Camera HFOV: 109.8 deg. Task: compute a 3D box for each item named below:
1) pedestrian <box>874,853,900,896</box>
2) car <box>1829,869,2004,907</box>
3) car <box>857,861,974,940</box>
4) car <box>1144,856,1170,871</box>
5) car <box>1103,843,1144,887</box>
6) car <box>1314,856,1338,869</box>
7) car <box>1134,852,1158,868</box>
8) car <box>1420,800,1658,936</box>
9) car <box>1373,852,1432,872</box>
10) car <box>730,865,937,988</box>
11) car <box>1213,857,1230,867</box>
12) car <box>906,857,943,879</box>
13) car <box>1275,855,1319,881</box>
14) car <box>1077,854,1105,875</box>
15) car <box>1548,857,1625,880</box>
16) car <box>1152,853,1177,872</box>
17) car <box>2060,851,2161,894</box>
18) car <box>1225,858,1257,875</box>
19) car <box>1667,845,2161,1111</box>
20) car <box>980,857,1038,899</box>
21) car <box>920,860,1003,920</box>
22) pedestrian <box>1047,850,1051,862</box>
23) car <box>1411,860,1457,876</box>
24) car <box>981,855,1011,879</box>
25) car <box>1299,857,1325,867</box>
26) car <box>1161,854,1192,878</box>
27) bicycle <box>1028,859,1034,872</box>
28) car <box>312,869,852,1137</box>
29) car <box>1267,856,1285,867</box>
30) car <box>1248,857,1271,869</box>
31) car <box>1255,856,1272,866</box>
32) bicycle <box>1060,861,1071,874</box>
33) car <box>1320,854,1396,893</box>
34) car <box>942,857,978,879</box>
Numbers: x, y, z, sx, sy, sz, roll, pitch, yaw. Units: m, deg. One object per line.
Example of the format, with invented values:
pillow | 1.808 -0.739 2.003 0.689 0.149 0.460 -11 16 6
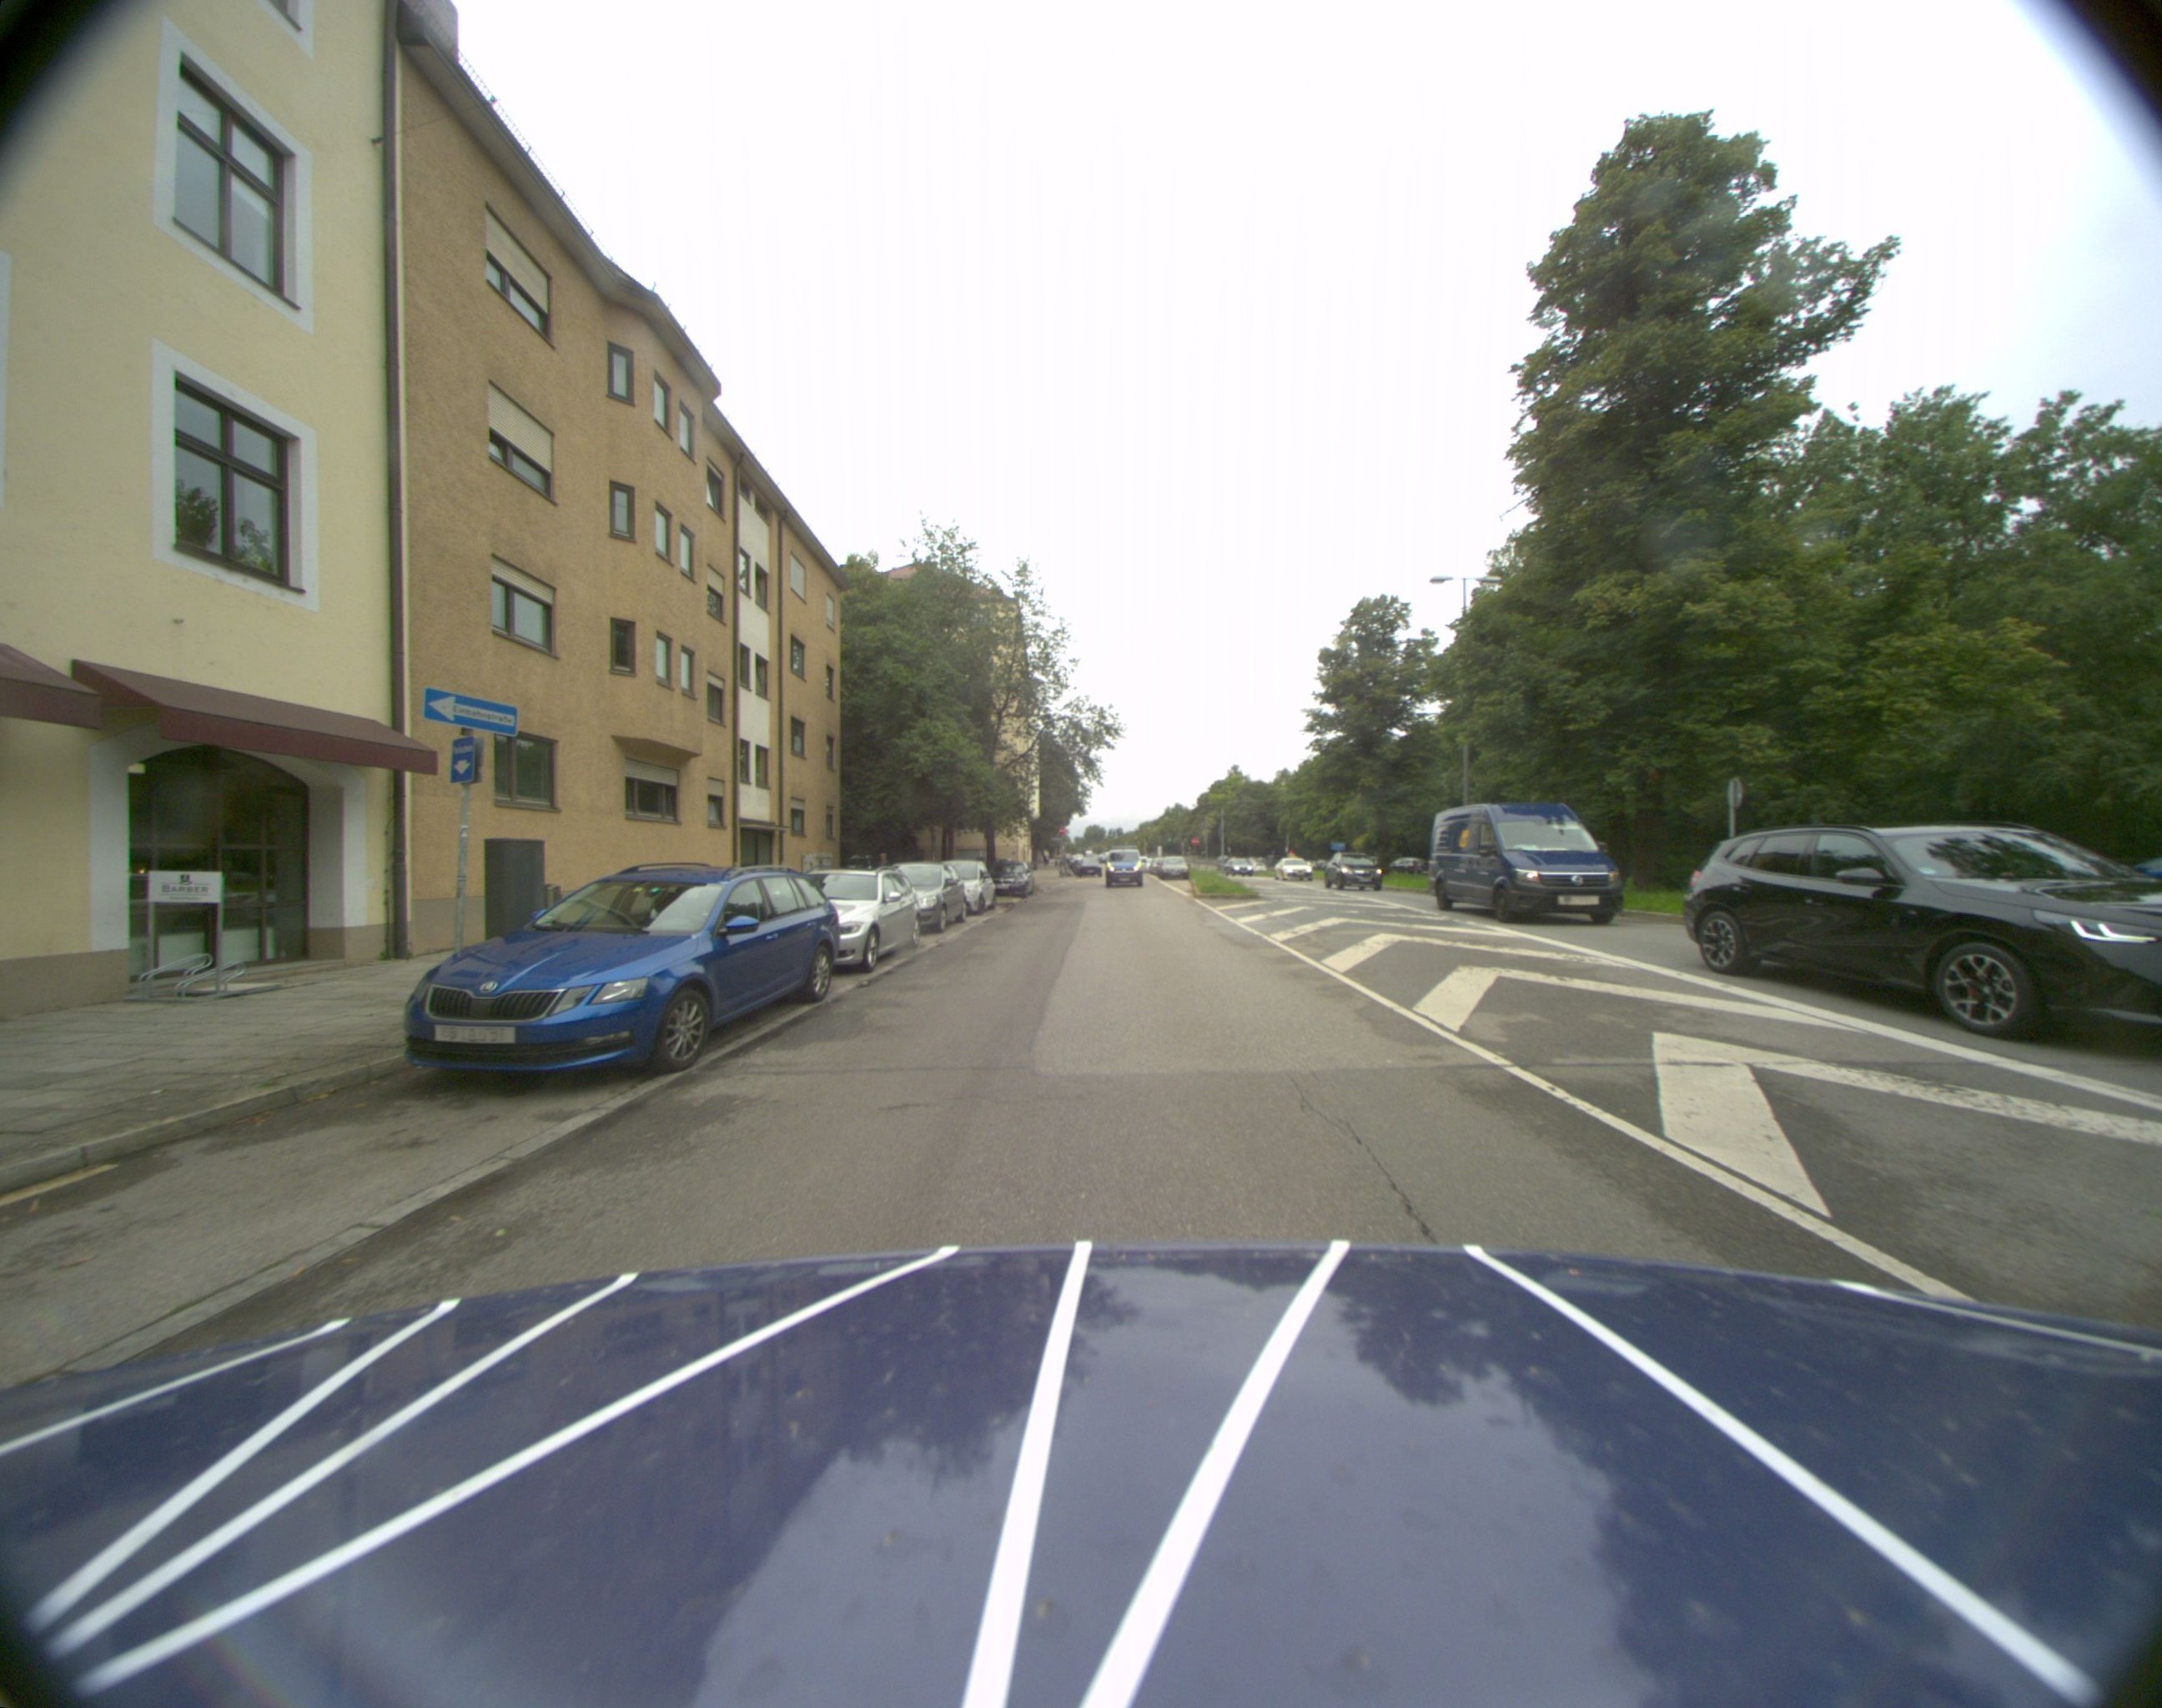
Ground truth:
pedestrian | -7.422 0.780 29.099 0.672 1.614 0.980 0 1 2
car | 35.904 1.414 32.876 2.000 1.438 4.764 1 0 -10
car | -3.548 0.941 16.925 1.632 1.487 3.787 1 0 2
car | 7.645 0.967 76.479 1.993 1.447 4.281 0 0 -3
car | 2.291 0.511 39.689 1.855 2.198 4.555 0 1 7
car | 31.975 1.143 99.286 1.911 1.549 3.999 0 1 -1
car | 7.349 0.643 86.379 2.075 1.692 5.089 -1 0 -3
car | 9.554 0.213 16.635 2.188 2.450 5.853 0 1 6
car | 23.550 0.573 55.805 1.898 1.438 4.385 0 0 -10
car | -3.582 0.957 11.914 1.694 1.487 4.434 1 0 1
car | 21.415 1.216 115.702 1.896 1.438 4.033 0 0 0
car | -10.925 0.971 53.226 1.917 1.458 4.244 0 0 -3
car | 13.958 0.876 49.453 1.991 1.556 4.656 0 0 6
car | 0.837 0.839 62.556 2.129 1.556 4.507 -1 0 1
car | 33.774 0.951 50.930 1.999 1.438 4.524 1 0 -3
car | 7.251 0.716 65.975 1.991 1.556 4.284 0 0 4
car | 37.040 0.628 25.672 2.000 1.438 4.419 1 0 -11
car | 14.940 1.126 71.129 1.992 1.556 4.272 0 0 -1
car | 7.782 0.737 6.768 1.917 1.577 4.833 -1 0 8
car | -2.859 0.916 31.090 1.796 1.488 4.376 3 0 1
car | -3.301 0.952 21.703 1.632 1.487 3.821 1 0 2
pedestrian | -5.096 0.327 120.076 0.458 2.002 0.617 0 0 -17
car | 32.747 1.266 70.618 1.999 1.438 4.524 1 0 -3
car | -5.901 0.882 53.216 1.825 1.556 4.244 0 0 -3
car | 31.865 1.083 105.031 1.999 1.438 4.316 1 0 -4
car | 6.240 0.762 50.196 1.903 1.556 4.773 0 0 6
bicycle | -4.526 0.989 68.523 0.401 1.164 1.318 0 0 -11
car | -3.691 0.940 6.811 1.761 1.487 4.488 1 0 2
car | 31.253 1.132 122.052 1.885 1.735 4.000 0 0 0
car | 22.258 1.165 94.983 1.832 1.438 4.235 1 0 -1
car | 31.002 1.198 129.093 1.866 1.735 4.000 0 0 0
bicycle | -1.204 1.047 60.715 0.632 1.031 1.736 1 0 6
car | 12.125 0.818 33.567 1.992 1.618 4.274 0 0 3
car | -8.462 0.956 53.413 2.054 1.458 4.244 0 0 -3
